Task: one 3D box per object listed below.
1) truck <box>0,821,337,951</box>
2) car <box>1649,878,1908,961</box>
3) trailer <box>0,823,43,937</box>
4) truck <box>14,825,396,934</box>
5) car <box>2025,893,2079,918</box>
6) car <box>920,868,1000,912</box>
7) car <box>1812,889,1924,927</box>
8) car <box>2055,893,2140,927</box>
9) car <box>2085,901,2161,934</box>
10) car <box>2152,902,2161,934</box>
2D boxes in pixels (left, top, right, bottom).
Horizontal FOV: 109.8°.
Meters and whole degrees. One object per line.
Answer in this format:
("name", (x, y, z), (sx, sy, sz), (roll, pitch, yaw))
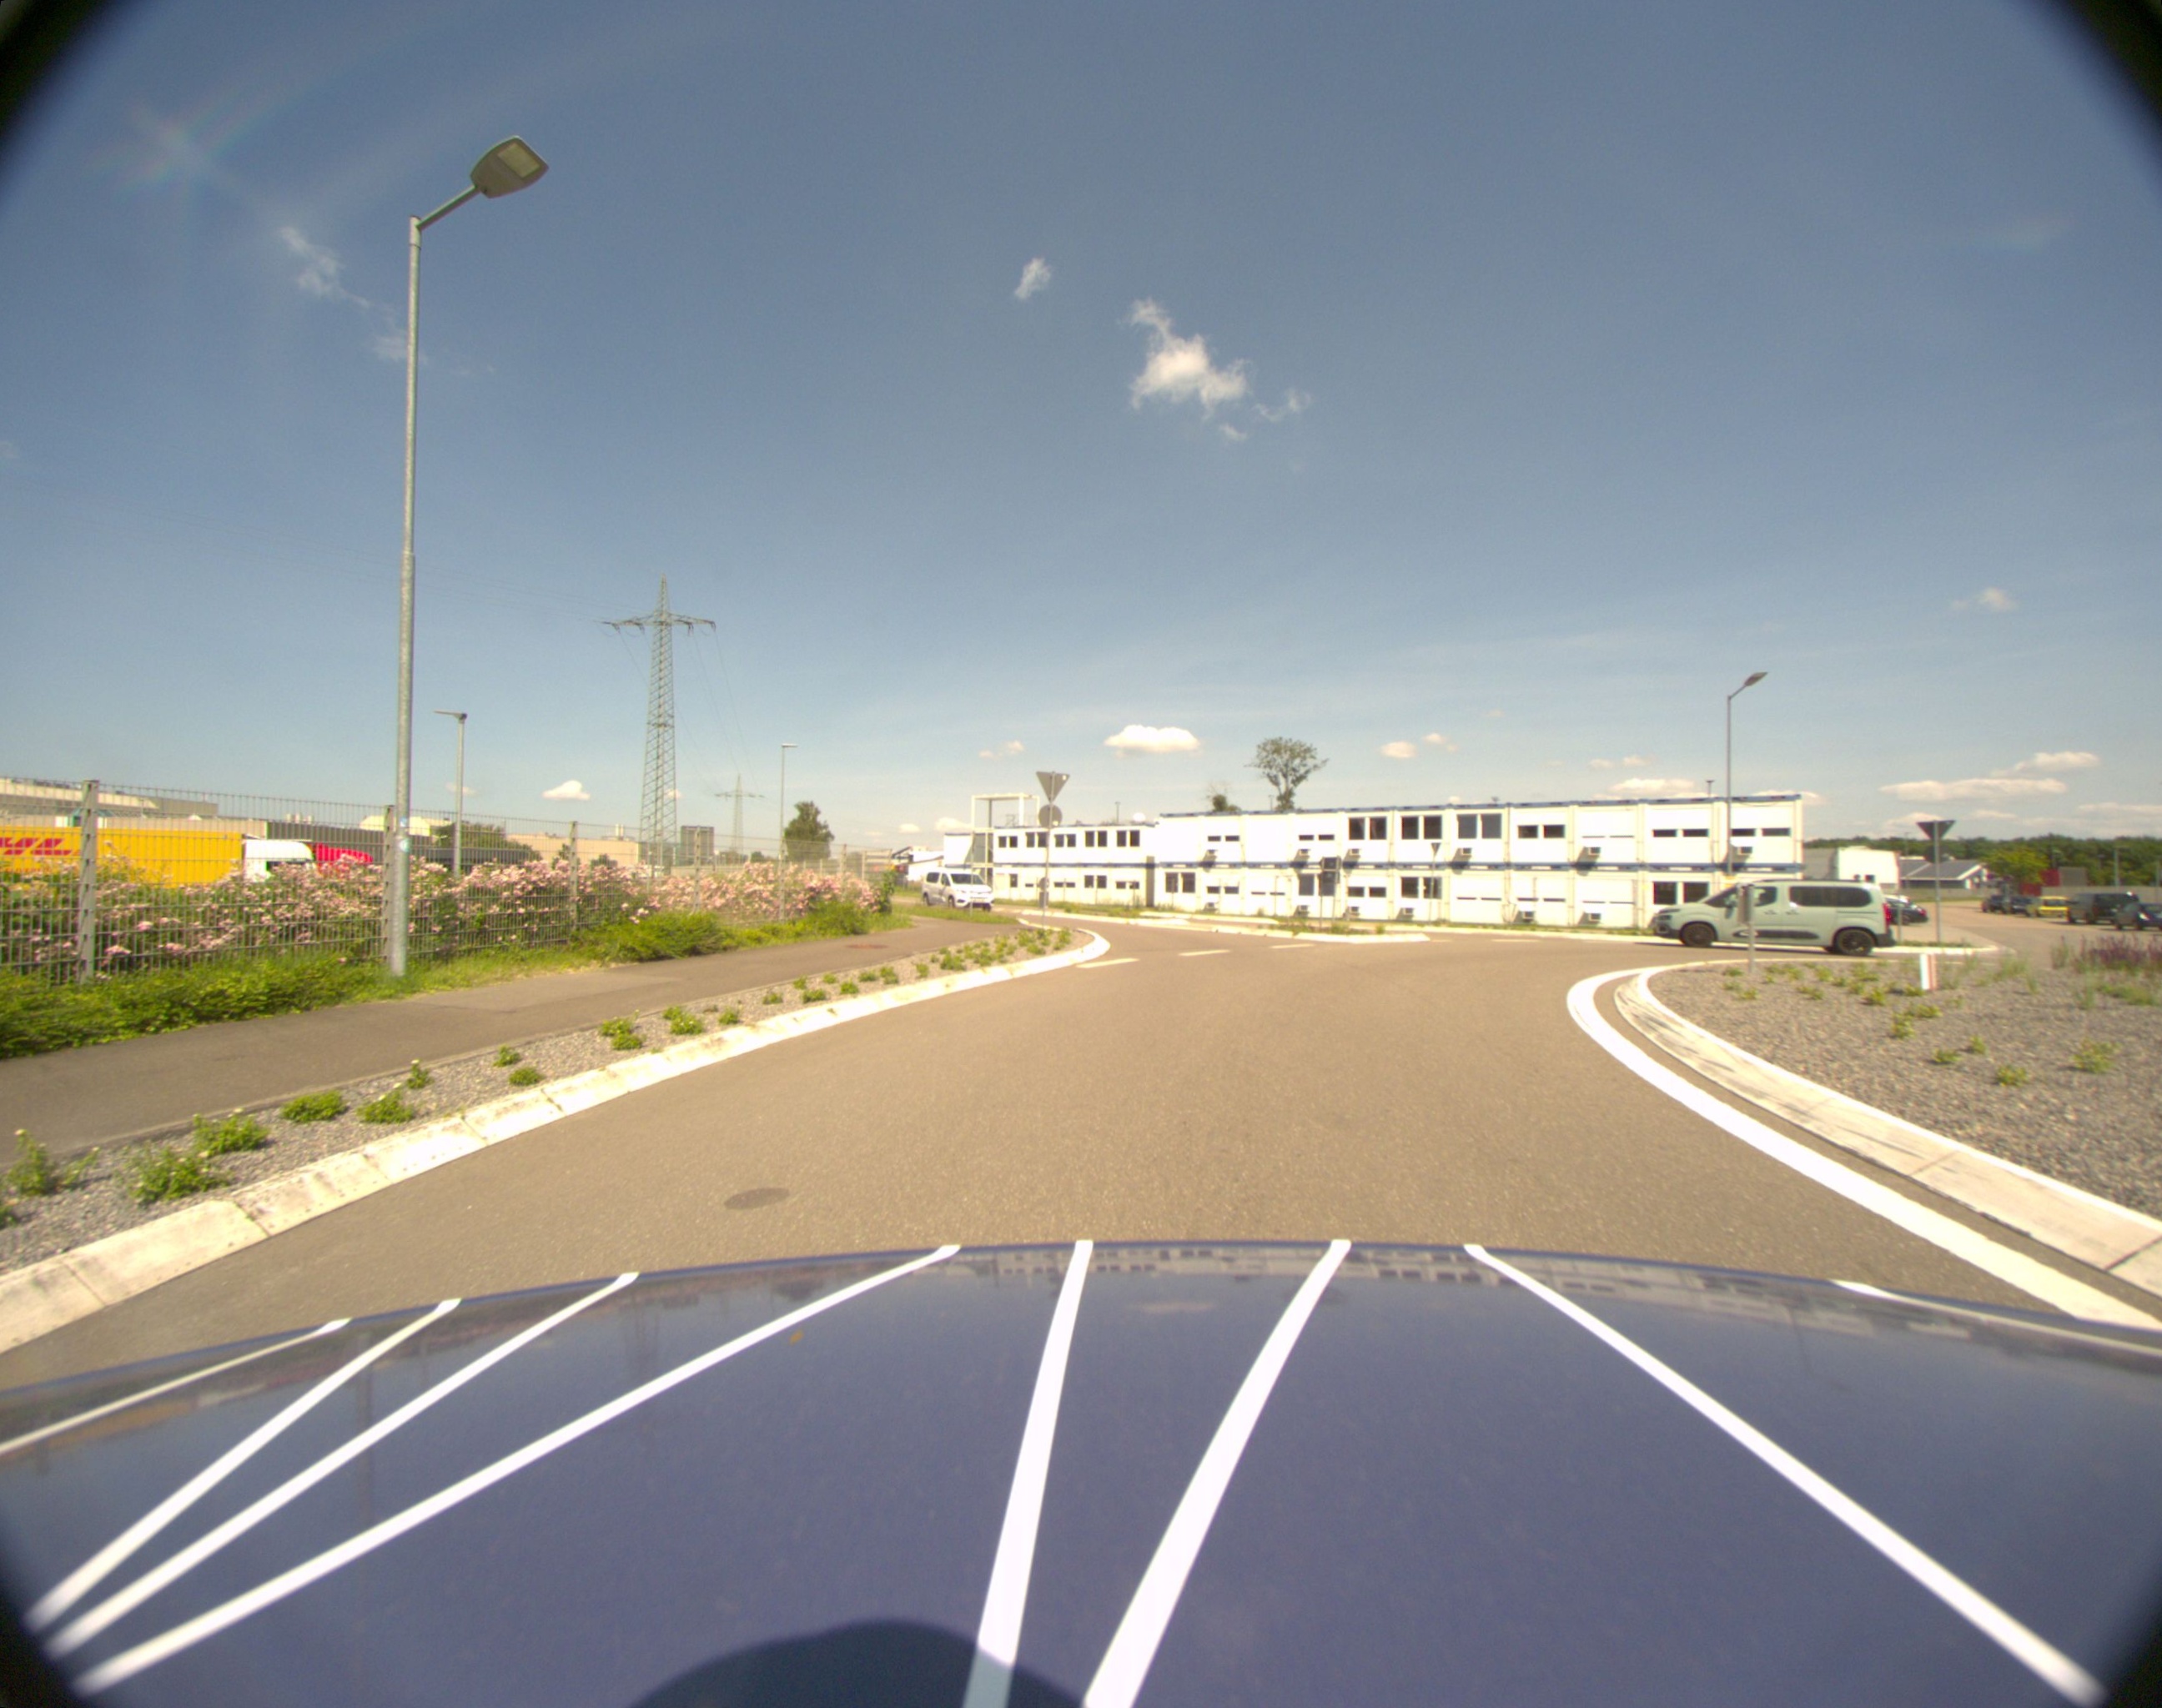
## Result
("truck", (-34.645, 1.096, 27.192), (2.815, 4.147, 10.998), (1, -1, 27))
("car", (17.237, 1.549, 19.165), (4.547, 1.768, 2.005), (0, -2, 33))
("trailer", (-43.666, 0.818, 26.234), (3.020, 4.269, 8.735), (1, -1, 27))
("truck", (-39.314, 1.174, 35.046), (3.021, 4.230, 10.998), (1, -1, 26))
("car", (68.038, 3.591, 53.297), (4.324, 1.540, 1.994), (1, -1, -43))
("car", (-5.461, 1.538, 33.874), (1.841, 1.795, 4.818), (1, -1, -31))
("car", (43.987, 2.986, 42.622), (4.301, 1.855, 2.005), (-1, -1, 45))
("car", (60.961, 3.314, 45.667), (1.994, 1.820, 4.324), (0, -1, 38))
("car", (56.365, 3.368, 40.530), (1.994, 1.540, 4.324), (0, -1, 33))
("car", (52.222, 3.072, 34.884), (1.994, 1.540, 4.323), (0, -1, 32))
